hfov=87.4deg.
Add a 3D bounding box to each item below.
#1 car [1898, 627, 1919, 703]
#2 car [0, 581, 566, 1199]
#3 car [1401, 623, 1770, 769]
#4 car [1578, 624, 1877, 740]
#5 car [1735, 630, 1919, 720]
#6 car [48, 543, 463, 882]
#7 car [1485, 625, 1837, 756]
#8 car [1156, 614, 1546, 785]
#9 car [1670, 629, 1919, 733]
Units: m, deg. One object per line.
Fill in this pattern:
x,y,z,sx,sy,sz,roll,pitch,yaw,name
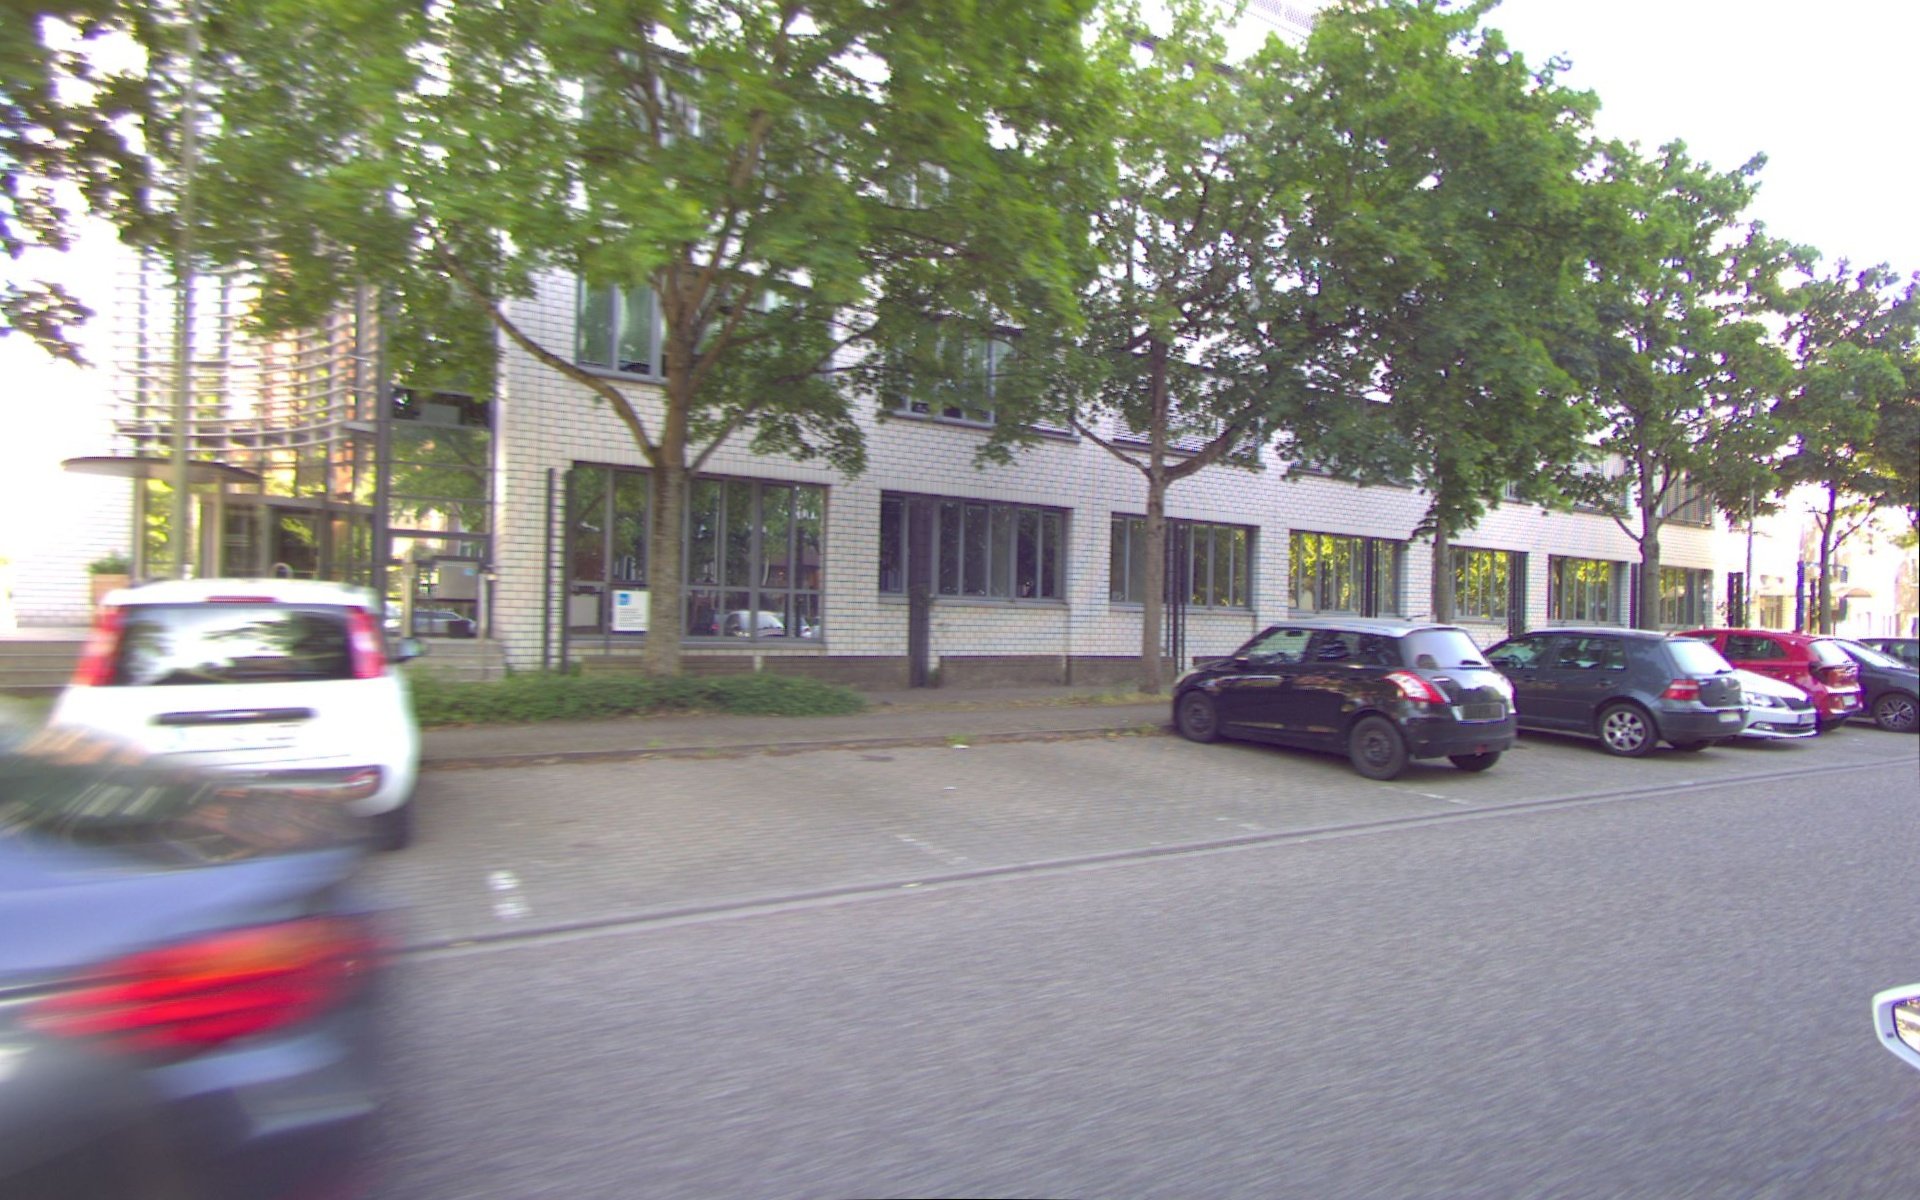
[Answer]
22.958,1.493,21.736,1.739,1.679,3.527,3,-2,-27,car
-2.845,0.659,1.411,4.058,1.434,1.805,2,-1,-30,car
7.893,1.118,13.052,1.611,1.464,3.745,2,0,-29,car
12.024,1.188,15.921,1.679,1.483,3.397,1,1,-34,car
16.756,1.361,18.210,1.588,1.425,3.964,2,0,-32,car
-4.397,0.578,6.613,1.620,1.569,3.561,5,-3,-31,car
10.011,1.181,14.645,1.735,1.476,3.845,0,1,-32,car
3.995,0.919,10.852,1.657,1.483,3.715,2,-1,-30,car
14.552,1.303,16.869,1.647,1.431,3.967,2,0,-31,car
